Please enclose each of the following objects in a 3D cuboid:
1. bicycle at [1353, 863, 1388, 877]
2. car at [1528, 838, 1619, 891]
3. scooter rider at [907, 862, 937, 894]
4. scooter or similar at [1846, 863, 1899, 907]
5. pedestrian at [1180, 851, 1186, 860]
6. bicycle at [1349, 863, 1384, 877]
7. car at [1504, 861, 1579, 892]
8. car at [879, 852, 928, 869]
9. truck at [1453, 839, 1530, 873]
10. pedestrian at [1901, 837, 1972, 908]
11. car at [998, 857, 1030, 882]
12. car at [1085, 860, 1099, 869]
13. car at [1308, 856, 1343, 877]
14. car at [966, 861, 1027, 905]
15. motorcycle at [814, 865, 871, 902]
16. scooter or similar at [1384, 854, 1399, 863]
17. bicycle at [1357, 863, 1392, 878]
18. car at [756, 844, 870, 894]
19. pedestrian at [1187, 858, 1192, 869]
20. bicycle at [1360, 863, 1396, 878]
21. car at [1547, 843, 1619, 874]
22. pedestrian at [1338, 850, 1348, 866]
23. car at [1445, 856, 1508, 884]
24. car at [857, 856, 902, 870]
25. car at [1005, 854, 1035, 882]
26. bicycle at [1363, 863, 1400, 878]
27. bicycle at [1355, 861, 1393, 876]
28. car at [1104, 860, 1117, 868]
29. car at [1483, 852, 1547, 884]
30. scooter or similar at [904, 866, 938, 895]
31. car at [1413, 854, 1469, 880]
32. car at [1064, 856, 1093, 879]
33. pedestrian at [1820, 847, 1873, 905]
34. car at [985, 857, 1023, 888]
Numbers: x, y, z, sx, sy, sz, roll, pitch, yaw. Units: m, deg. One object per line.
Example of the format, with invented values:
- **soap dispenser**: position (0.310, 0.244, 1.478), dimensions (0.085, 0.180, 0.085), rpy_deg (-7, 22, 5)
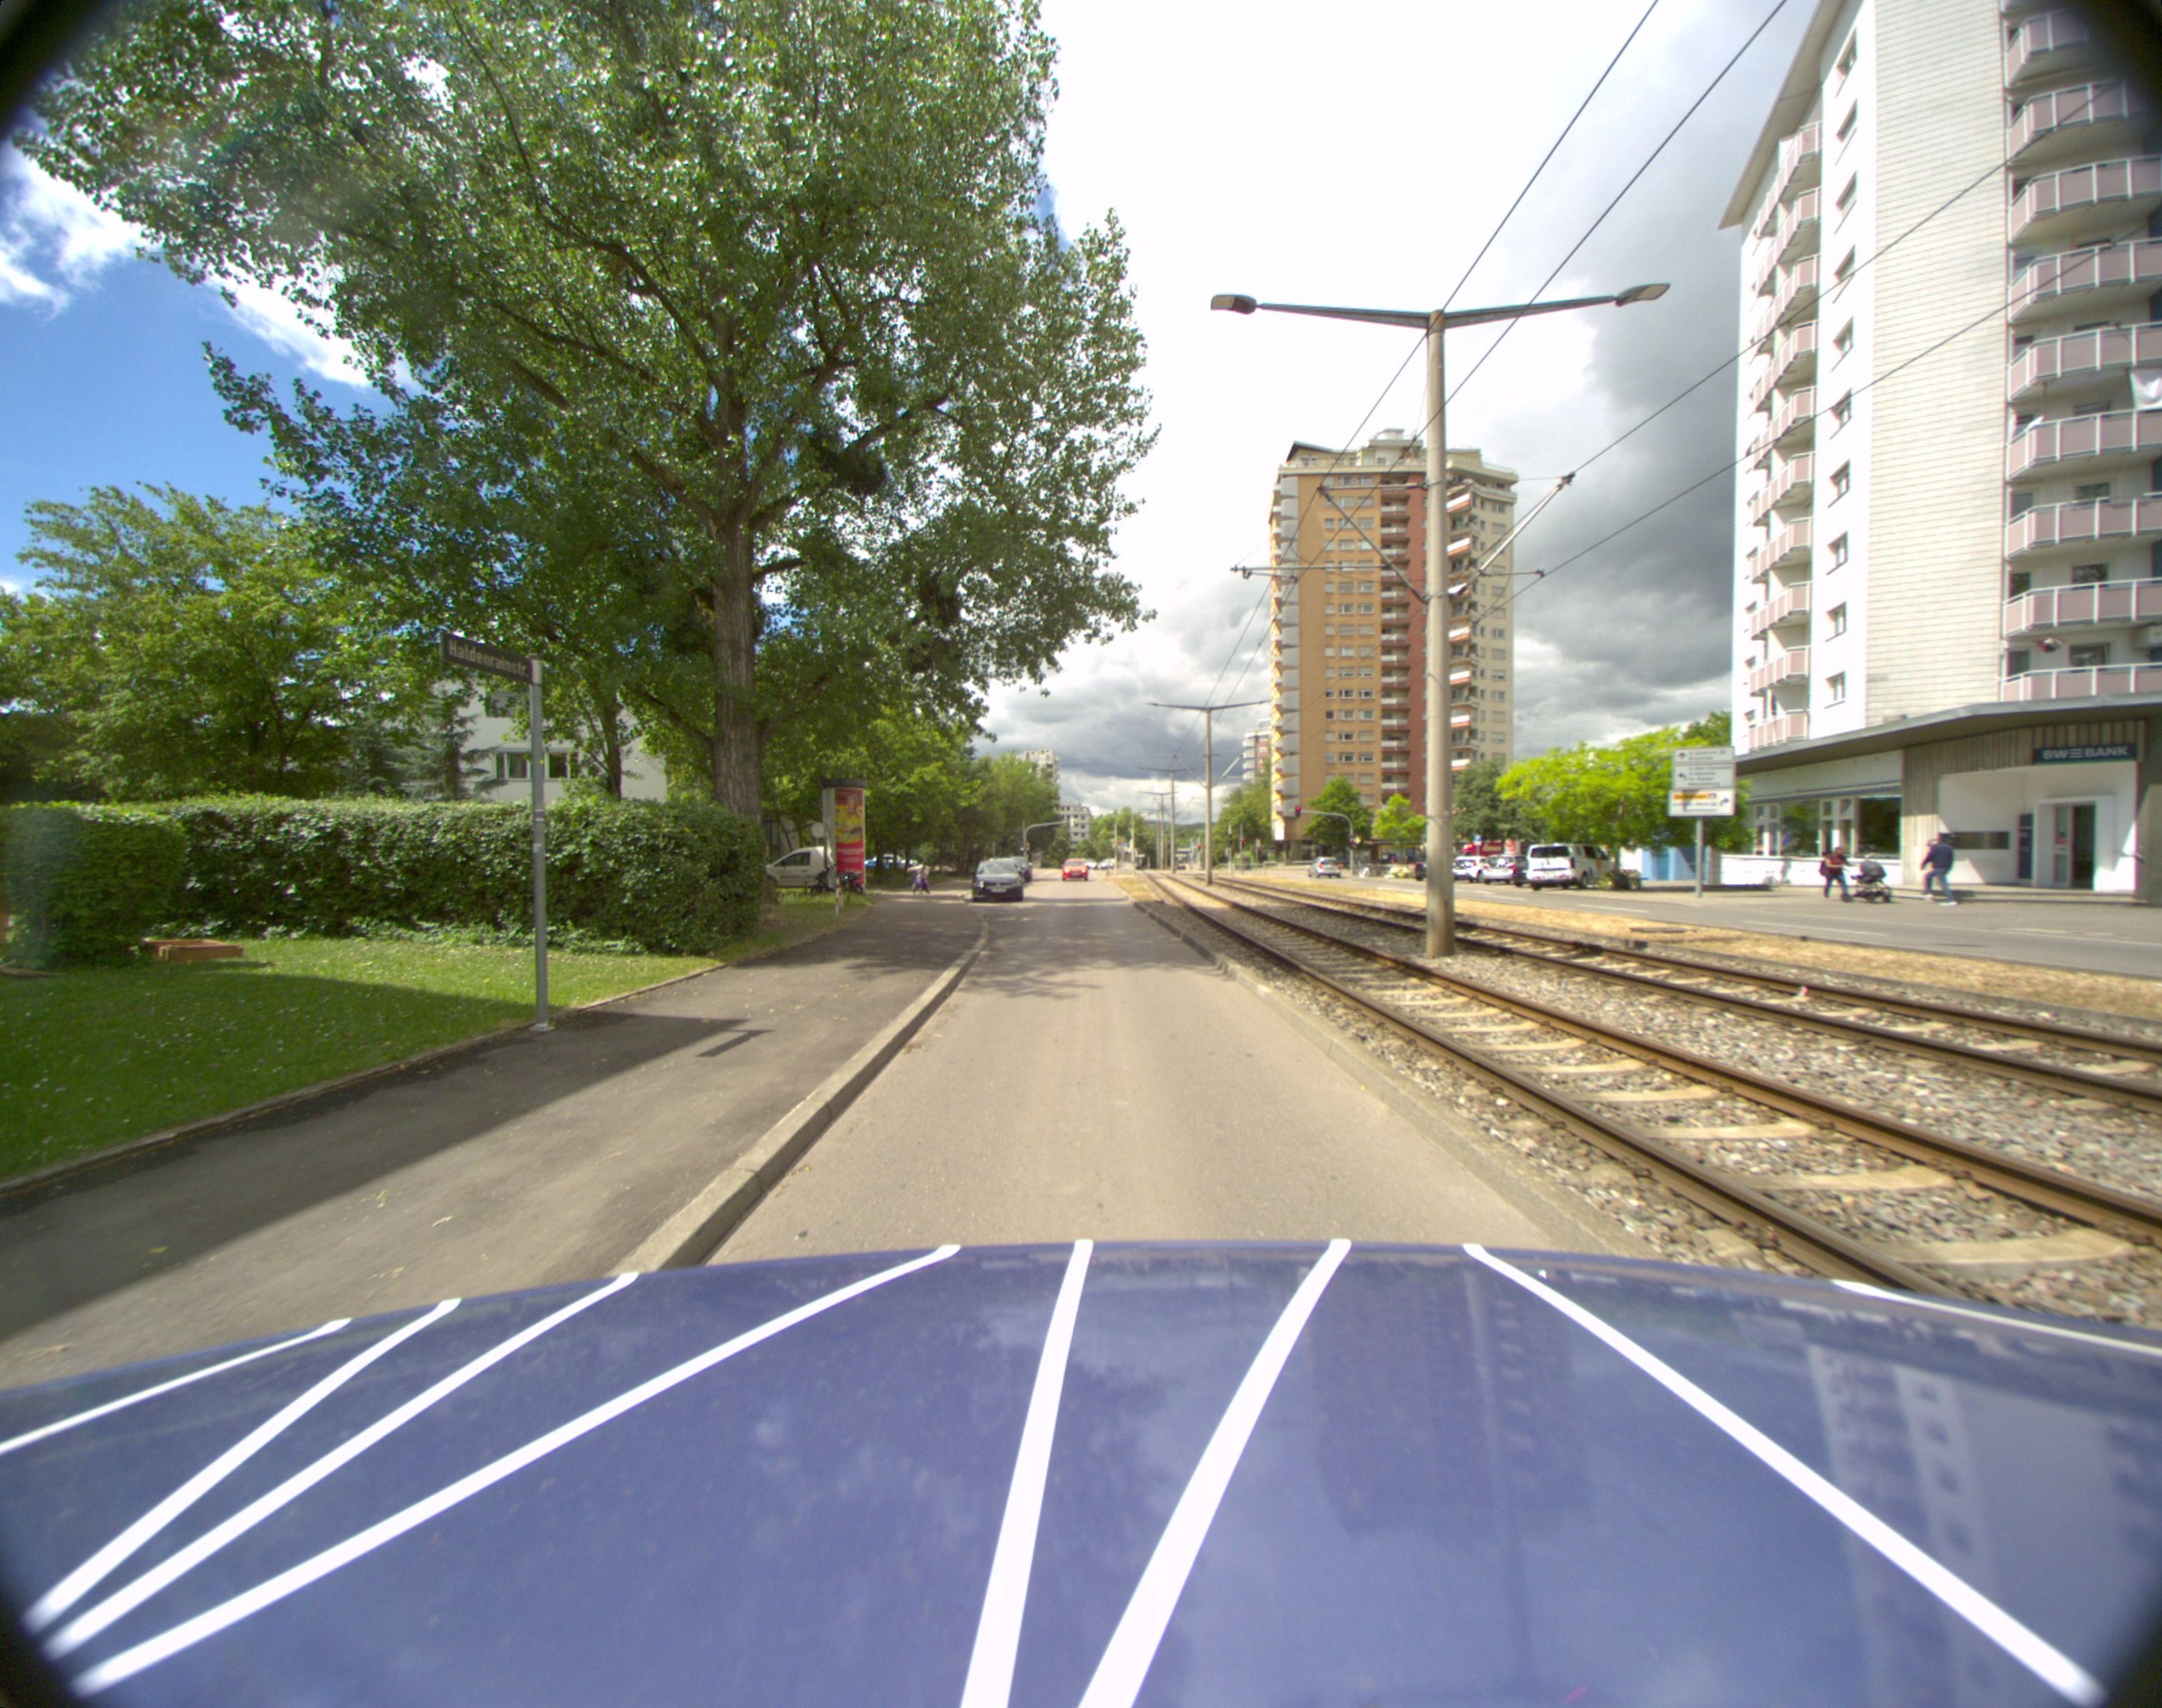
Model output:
- **bicycle**: position (22.416, 1.263, 58.782), dimensions (2.432, 1.060, 0.705), rpy_deg (1, 0, 3)
- **car**: position (21.132, 0.455, 32.545), dimensions (4.772, 2.144, 1.901), rpy_deg (1, 0, -39)
- **scooter rider**: position (-6.246, 0.944, 29.892), dimensions (0.887, 1.213, 1.282), rpy_deg (1, -1, -1)
- **scooter or similar**: position (20.971, 0.825, 20.157), dimensions (0.580, 1.117, 0.770), rpy_deg (-4, -2, 13)
- **pedestrian**: position (18.211, 0.195, 135.494), dimensions (0.865, 1.596, 0.747), rpy_deg (1, 0, 3)
- **bicycle**: position (22.404, 1.271, 59.583), dimensions (2.432, 1.060, 0.705), rpy_deg (1, 0, 3)
- **car**: position (22.446, 1.078, 36.975), dimensions (4.009, 1.375, 1.901), rpy_deg (1, -1, -39)
- **car**: position (-17.977, 0.624, 77.114), dimensions (4.655, 1.583, 1.922), rpy_deg (1, 2, -4)
- **truck**: position (45.844, 0.231, 85.003), dimensions (7.089, 3.653, 2.549), rpy_deg (1, 0, 9)
- **pedestrian**: position (21.989, 0.473, 19.551), dimensions (0.843, 1.782, 0.874), rpy_deg (1, 0, -4)
- **car**: position (-4.010, 0.930, 45.880), dimensions (1.648, 1.449, 4.075), rpy_deg (1, -1, -2)
- **car**: position (1.501, 1.459, 105.454), dimensions (1.605, 1.207, 3.773), rpy_deg (1, -1, 5)
- **car**: position (18.722, 0.922, 58.300), dimensions (1.822, 1.523, 3.756), rpy_deg (1, -1, 6)
- **car**: position (-2.931, 0.968, 27.046), dimensions (1.820, 1.440, 3.826), rpy_deg (1, -1, -2)
- **motorcycle**: position (-8.079, 0.998, 25.744), dimensions (1.803, 1.203, 0.711), rpy_deg (1, 0, -21)
- **scooter or similar**: position (40.077, 0.586, 98.152), dimensions (1.751, 1.087, 0.545), rpy_deg (1, 0, 0)
- **bicycle**: position (22.387, 1.254, 57.978), dimensions (2.432, 1.060, 0.705), rpy_deg (1, 0, 3)
- **car**: position (-10.336, 0.585, 29.391), dimensions (4.004, 1.812, 1.807), rpy_deg (1, 0, -21)
- **pedestrian**: position (18.720, 1.663, 130.855), dimensions (0.771, 1.920, 0.573), rpy_deg (1, 0, 2)
- **bicycle**: position (22.338, 1.246, 57.243), dimensions (2.432, 1.060, 0.705), rpy_deg (1, 0, 3)
- **car**: position (54.886, 0.503, 83.158), dimensions (6.294, 3.279, 2.002), rpy_deg (1, 0, 11)
- **pedestrian**: position (33.573, 0.517, 97.373), dimensions (0.920, 1.923, 0.854), rpy_deg (1, 0, 3)
- **car**: position (22.600, 0.912, 43.358), dimensions (3.774, 1.487, 1.742), rpy_deg (1, -1, -38)
- **car**: position (-19.586, 0.855, 73.889), dimensions (3.970, 1.218, 1.912), rpy_deg (1, 2, -4)
- **car**: position (-3.974, 0.907, 50.376), dimensions (1.648, 1.752, 4.569), rpy_deg (1, -1, -1)
- **bicycle**: position (22.328, 1.238, 56.464), dimensions (2.432, 1.060, 0.705), rpy_deg (1, 0, 3)
- **bicycle**: position (21.235, 1.062, 55.097), dimensions (2.432, 1.028, 0.717), rpy_deg (-1, 0, 3)
- **car**: position (4.296, 1.442, 111.528), dimensions (1.805, 1.207, 4.023), rpy_deg (1, -1, 4)
- **car**: position (23.239, 0.727, 40.639), dimensions (4.009, 1.622, 1.901), rpy_deg (1, -1, -44)
- **scooter or similar**: position (-6.252, 1.025, 29.850), dimensions (0.892, 1.058, 2.114), rpy_deg (1, -1, -1)
- **car**: position (22.830, 0.818, 48.179), dimensions (4.009, 1.582, 1.927), rpy_deg (1, -1, -45)
- **car**: position (-0.143, 0.895, 51.466), dimensions (1.819, 1.483, 4.000), rpy_deg (-1, 0, 1)
- **pedestrian**: position (21.173, 0.606, 21.030), dimensions (0.514, 1.562, 0.987), rpy_deg (-4, -1, 12)
- **car**: position (-4.116, 0.949, 41.127), dimensions (1.789, 1.556, 4.568), rpy_deg (1, -1, -3)
